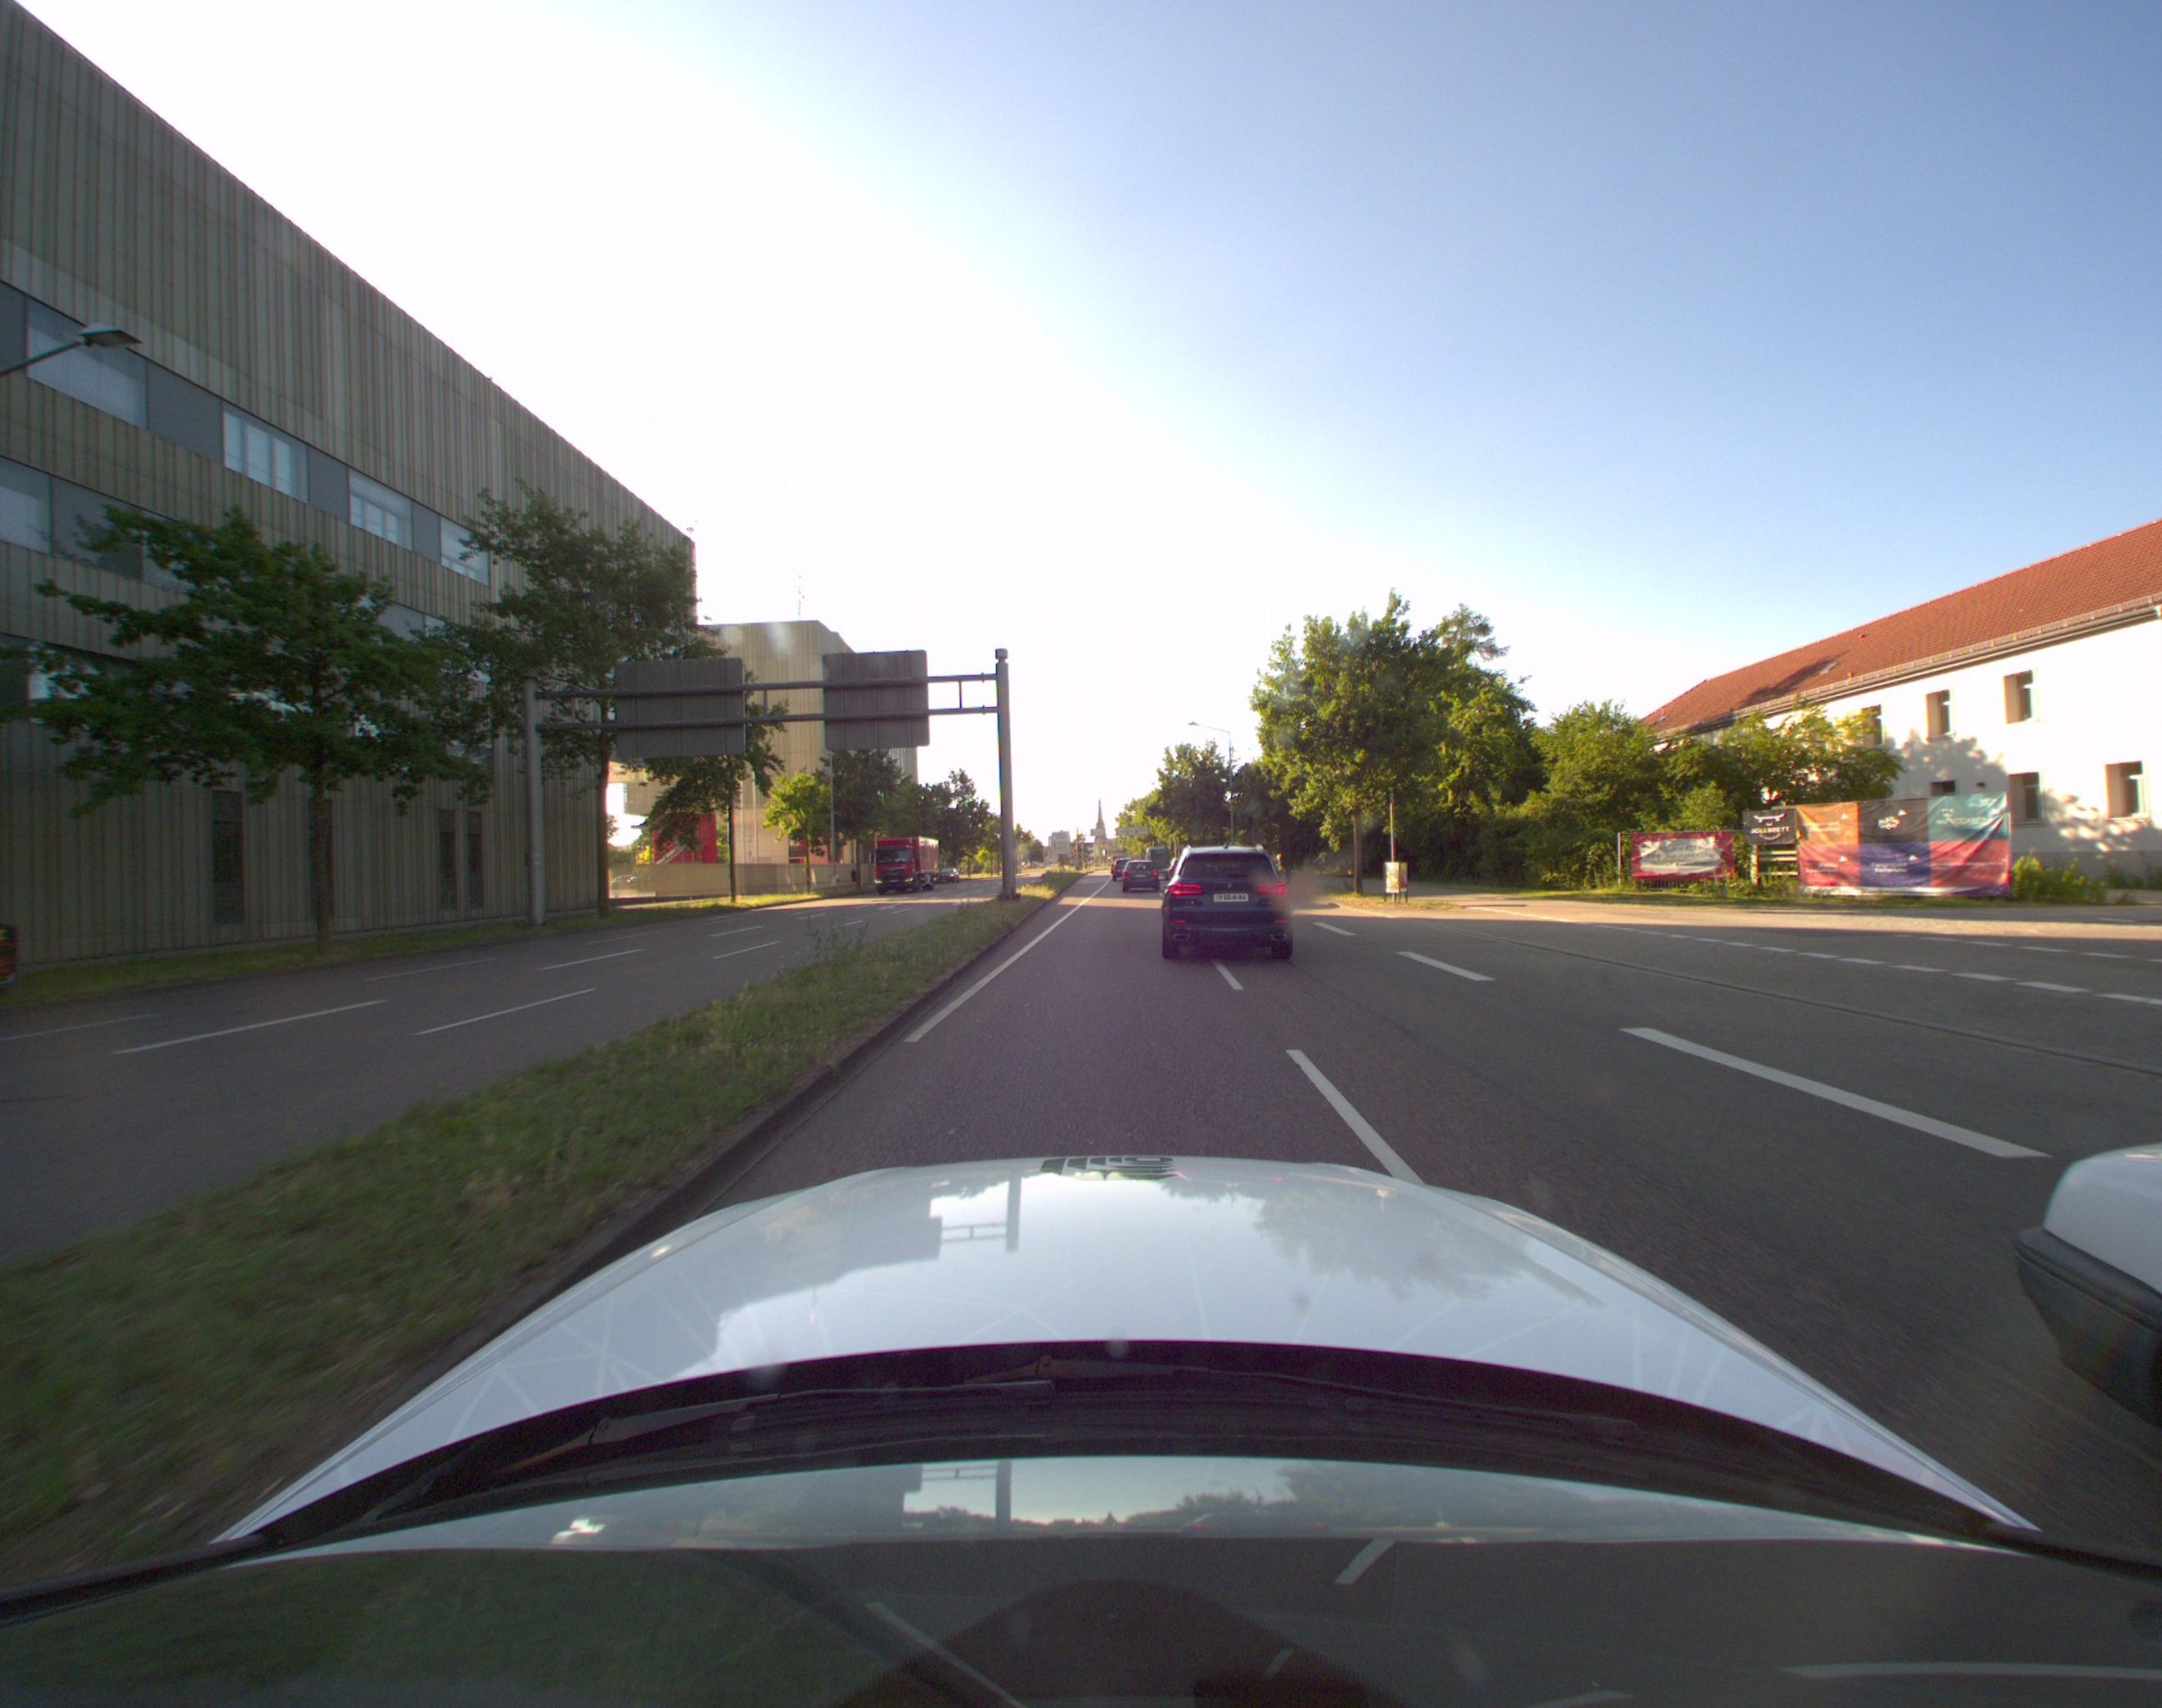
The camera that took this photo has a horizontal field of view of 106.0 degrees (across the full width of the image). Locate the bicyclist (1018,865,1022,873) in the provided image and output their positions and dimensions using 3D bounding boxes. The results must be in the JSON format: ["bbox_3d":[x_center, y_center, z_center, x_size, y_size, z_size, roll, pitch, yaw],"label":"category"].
[{"bbox_3d":[-14.360,3.589,192.676,0.807,1.771,0.498,-1,-1,16],"label":"bicyclist"}]

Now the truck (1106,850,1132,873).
[{"bbox_3d":[4.513,0.943,98.025,2.573,2.558,6.248,-2,-1,-1],"label":"truck"}]

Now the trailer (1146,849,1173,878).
[{"bbox_3d":[6.693,0.818,69.663,2.082,2.401,3.502,-1,-1,1],"label":"trailer"}]

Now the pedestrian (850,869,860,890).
[{"bbox_3d":[-20.586,2.319,74.182,0.630,1.841,0.717,-2,-1,2],"label":"pedestrian"}]

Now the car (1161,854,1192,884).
[{"bbox_3d":[5.743,0.880,48.928,1.738,1.620,3.827,-2,1,7],"label":"car"}]

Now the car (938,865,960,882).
[{"bbox_3d":[-12.396,1.830,76.790,1.592,1.512,3.862,-2,0,-3],"label":"car"}]

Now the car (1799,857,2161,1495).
[{"bbox_3d":[3.167,0.671,0.664,1.605,1.398,4.037,0,-2,0],"label":"car"}]

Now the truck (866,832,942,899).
[{"bbox_3d":[-11.271,0.707,52.912,2.991,3.811,10.079,-2,0,-2],"label":"truck"}]

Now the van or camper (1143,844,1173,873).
[{"bbox_3d":[7.100,0.430,75.723,2.276,2.629,6.585,-1,-1,2],"label":"van or camper"}]

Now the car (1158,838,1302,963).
[{"bbox_3d":[2.307,0.701,13.825,1.945,1.727,4.705,-1,-1,5],"label":"car"}]

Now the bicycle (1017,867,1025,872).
[{"bbox_3d":[-14.225,3.645,192.639,1.894,1.020,0.506,-1,-1,16],"label":"bicycle"}]

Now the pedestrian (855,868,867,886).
[{"bbox_3d":[-19.794,2.055,73.309,0.773,1.601,0.910,-2,-1,2],"label":"pedestrian"}]

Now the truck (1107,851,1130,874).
[{"bbox_3d":[4.488,1.016,97.079,2.207,2.651,4.784,-2,-1,8],"label":"truck"}]

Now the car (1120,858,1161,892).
[{"bbox_3d":[2.772,0.971,38.500,1.740,1.473,3.821,-2,-1,2],"label":"car"}]

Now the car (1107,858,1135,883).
[{"bbox_3d":[2.941,1.169,59.015,1.897,1.660,4.004,-2,-1,4],"label":"car"}]
